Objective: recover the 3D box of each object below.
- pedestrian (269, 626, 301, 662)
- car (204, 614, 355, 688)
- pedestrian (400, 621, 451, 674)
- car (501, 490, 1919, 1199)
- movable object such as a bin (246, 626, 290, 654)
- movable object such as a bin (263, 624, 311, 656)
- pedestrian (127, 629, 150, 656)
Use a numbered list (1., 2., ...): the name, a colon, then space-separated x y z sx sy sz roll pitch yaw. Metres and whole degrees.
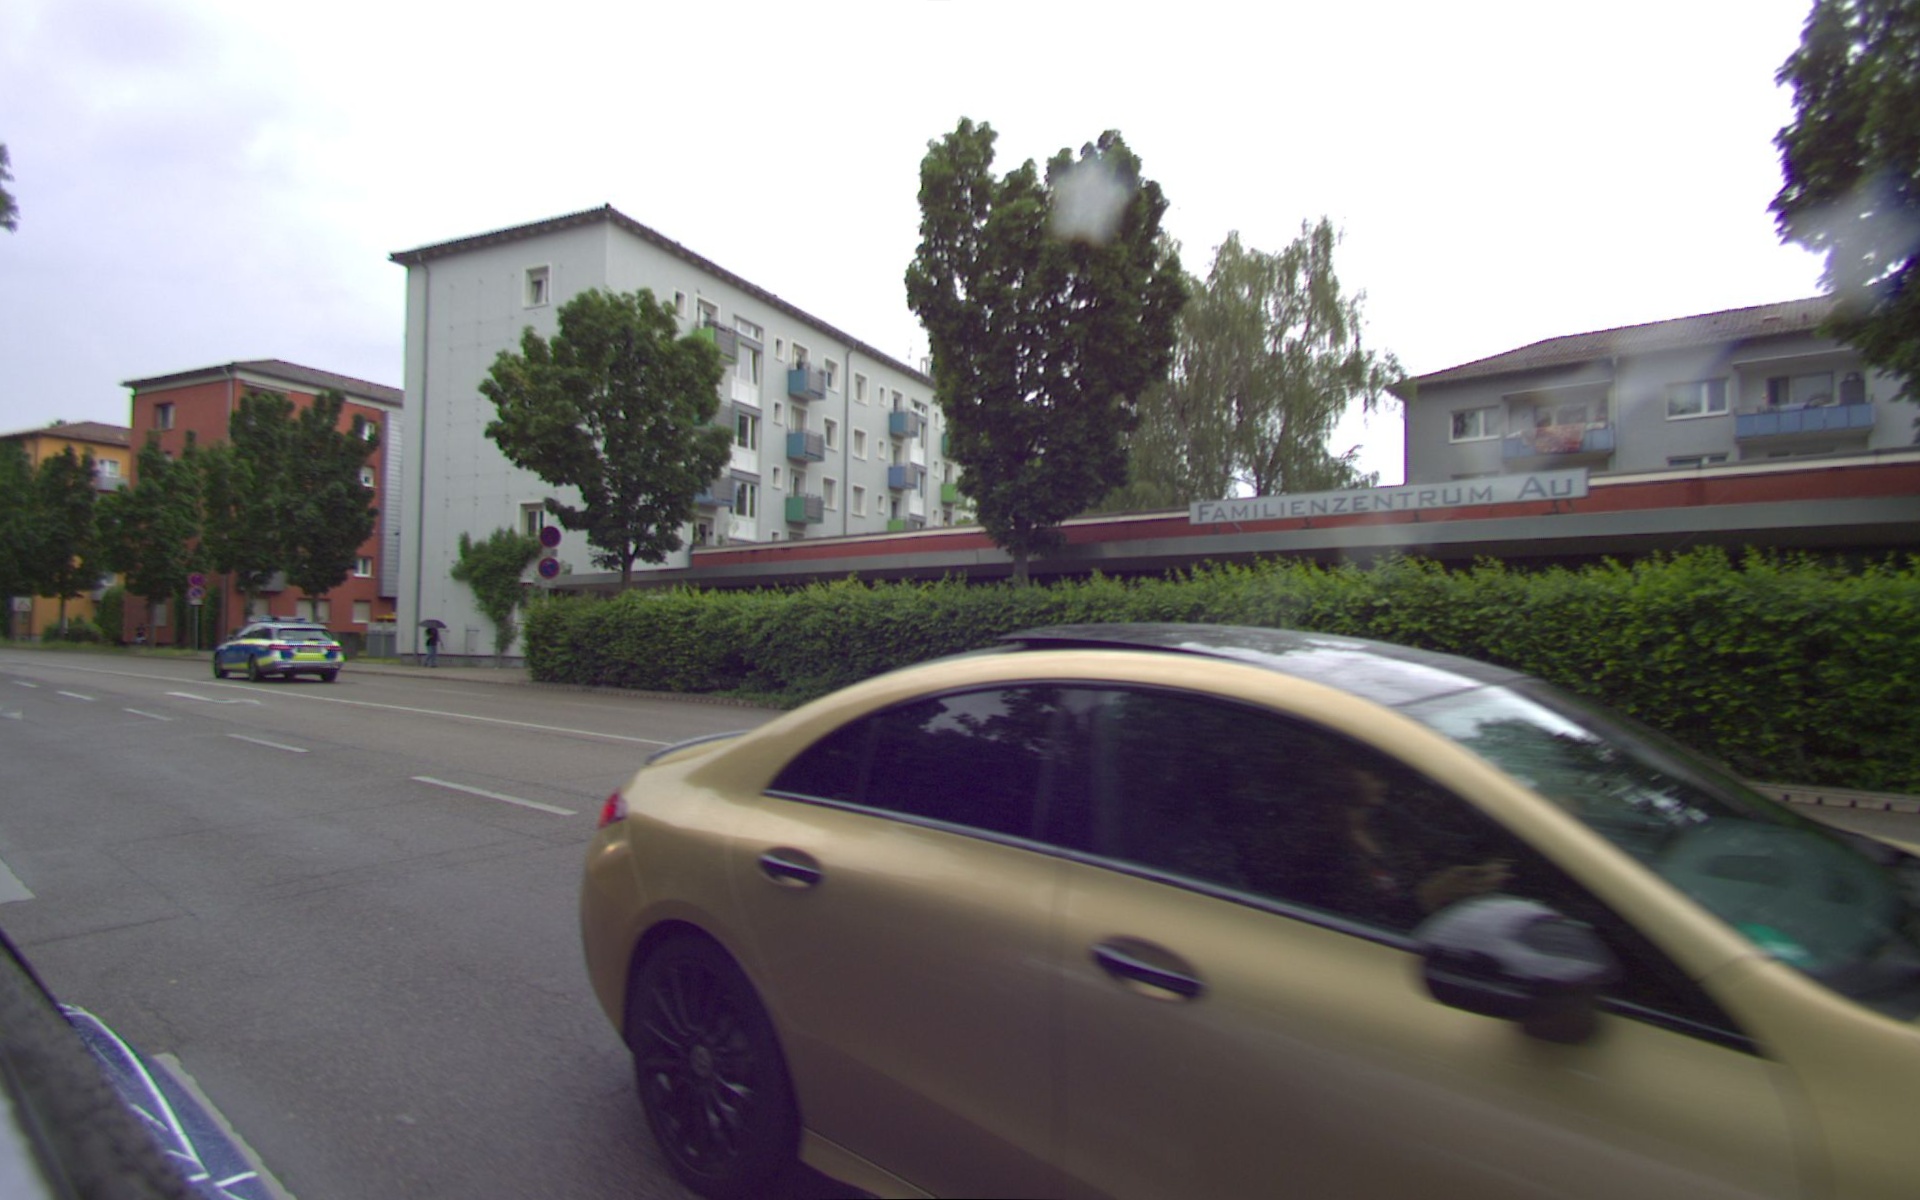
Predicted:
1. pedestrian: -28.855 1.873 43.262 1.066 1.529 0.687 -1 -3 31
2. car: -17.779 1.280 26.367 4.803 1.763 1.973 -1 -3 40
3. pedestrian: -18.689 1.647 35.384 1.261 1.818 1.124 -1 -3 37
4. car: 1.043 0.669 2.361 4.582 1.475 2.045 -1 -3 40
5. movable object such as a bin: -33.976 1.962 49.687 1.961 1.341 1.147 -1 -3 35
6. movable object such as a bin: -32.198 1.900 48.439 2.082 1.496 1.205 -1 -3 35
7. pedestrian: -44.473 2.303 54.782 0.833 1.460 0.666 -1 -3 31
